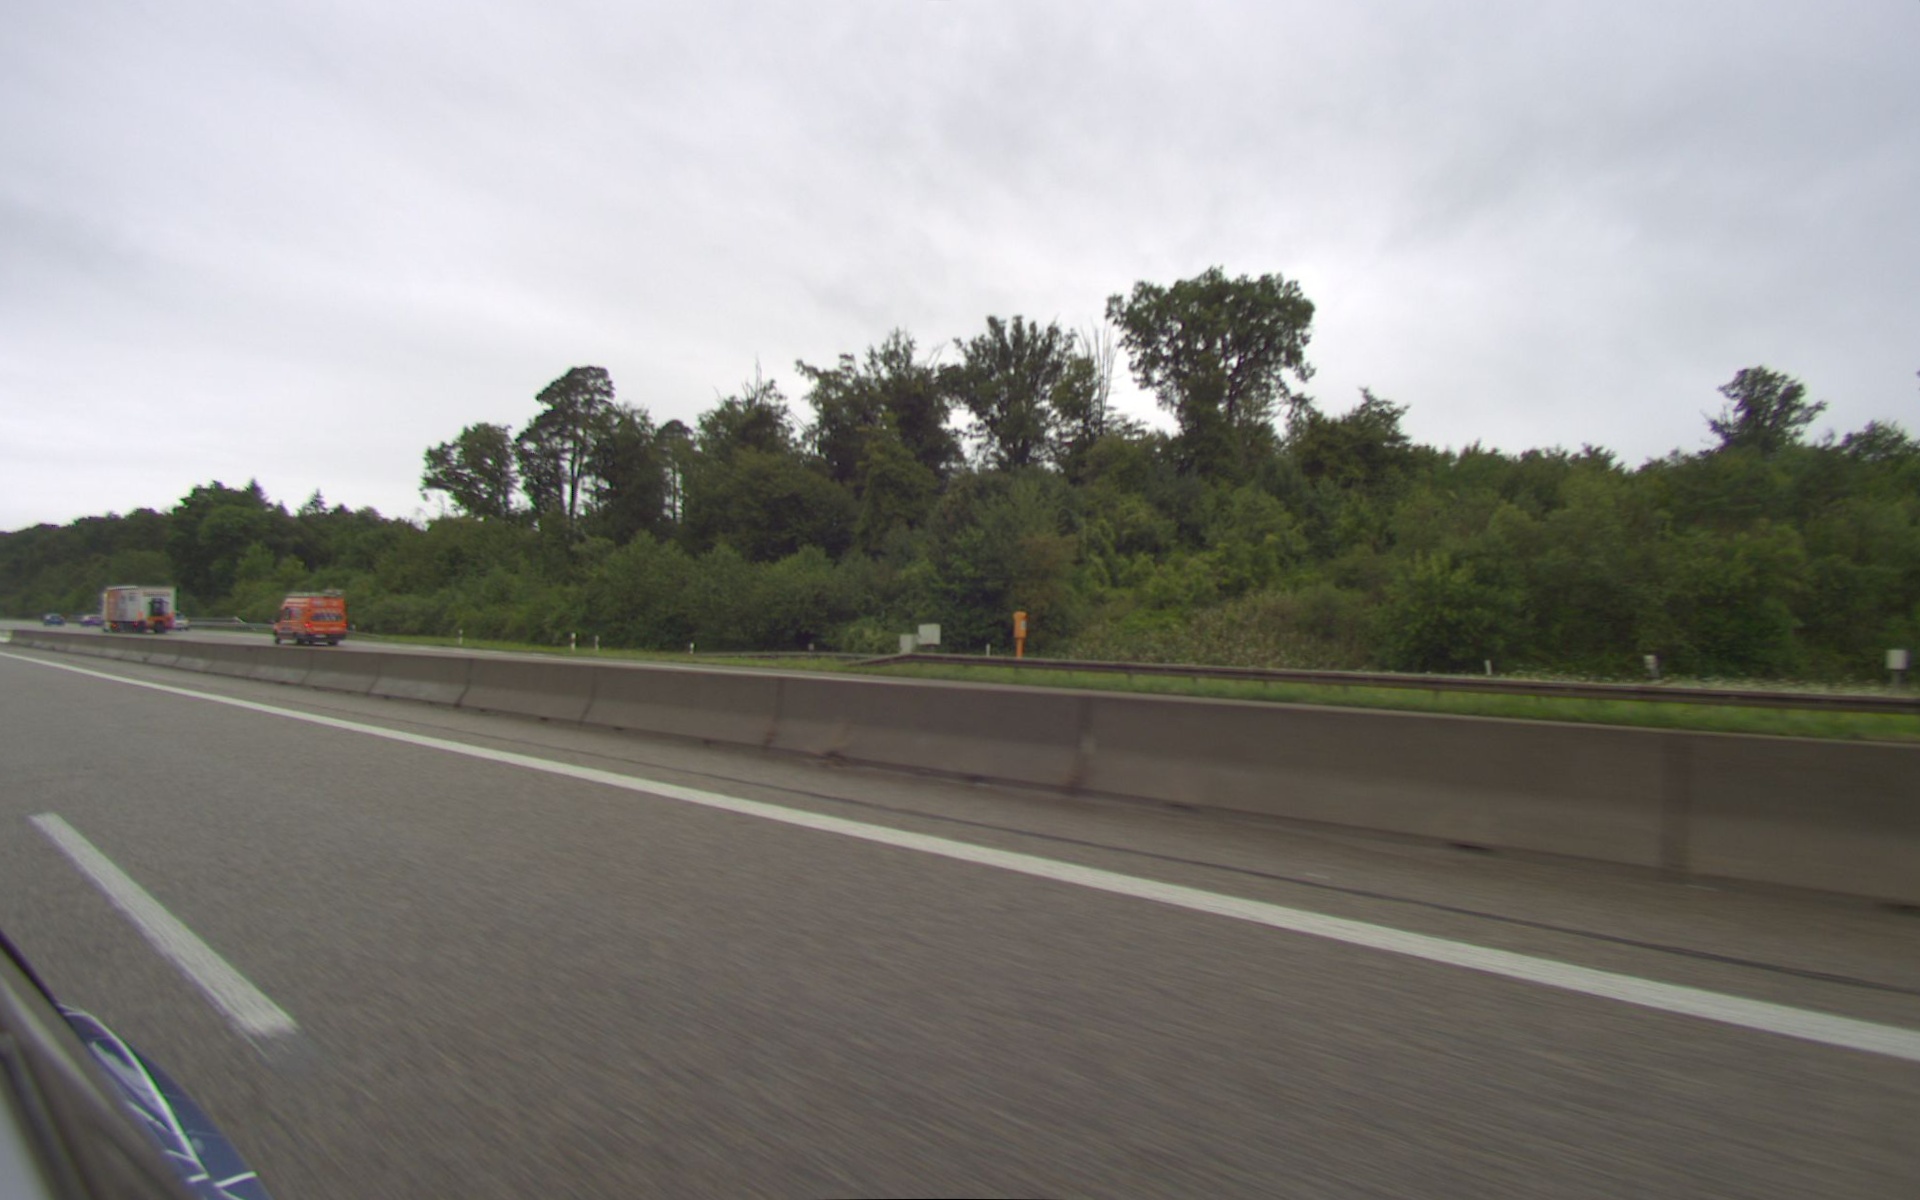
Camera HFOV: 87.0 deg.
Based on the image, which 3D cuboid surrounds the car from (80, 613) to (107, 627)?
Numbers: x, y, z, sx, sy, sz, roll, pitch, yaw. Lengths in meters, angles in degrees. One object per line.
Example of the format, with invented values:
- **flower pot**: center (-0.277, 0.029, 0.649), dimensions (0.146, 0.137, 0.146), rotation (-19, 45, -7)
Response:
- **car**: center (-102.659, 2.320, 119.913), dimensions (3.999, 1.630, 1.972), rotation (-1, -1, 42)

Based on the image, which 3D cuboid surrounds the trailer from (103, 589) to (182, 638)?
- **trailer**: center (-70.896, 1.187, 87.601), dimensions (12.605, 4.048, 3.326), rotation (-1, -1, 42)

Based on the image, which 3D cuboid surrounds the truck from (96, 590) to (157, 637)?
- **truck**: center (-75.764, 1.251, 91.961), dimensions (6.463, 4.059, 3.313), rotation (-1, -1, 42)

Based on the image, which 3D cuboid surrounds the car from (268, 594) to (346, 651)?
- **car**: center (-36.867, 1.253, 57.066), dimensions (5.973, 3.066, 2.157), rotation (-1, -1, 41)

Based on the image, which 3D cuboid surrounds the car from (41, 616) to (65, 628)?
- **car**: center (-116.364, 2.856, 129.803), dimensions (3.996, 1.453, 1.693), rotation (-1, -2, 40)

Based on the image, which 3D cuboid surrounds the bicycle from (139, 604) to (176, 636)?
- **bicycle**: center (-65.770, 1.631, 82.940), dimensions (1.110, 2.545, 2.171), rotation (-1, 0, 41)
